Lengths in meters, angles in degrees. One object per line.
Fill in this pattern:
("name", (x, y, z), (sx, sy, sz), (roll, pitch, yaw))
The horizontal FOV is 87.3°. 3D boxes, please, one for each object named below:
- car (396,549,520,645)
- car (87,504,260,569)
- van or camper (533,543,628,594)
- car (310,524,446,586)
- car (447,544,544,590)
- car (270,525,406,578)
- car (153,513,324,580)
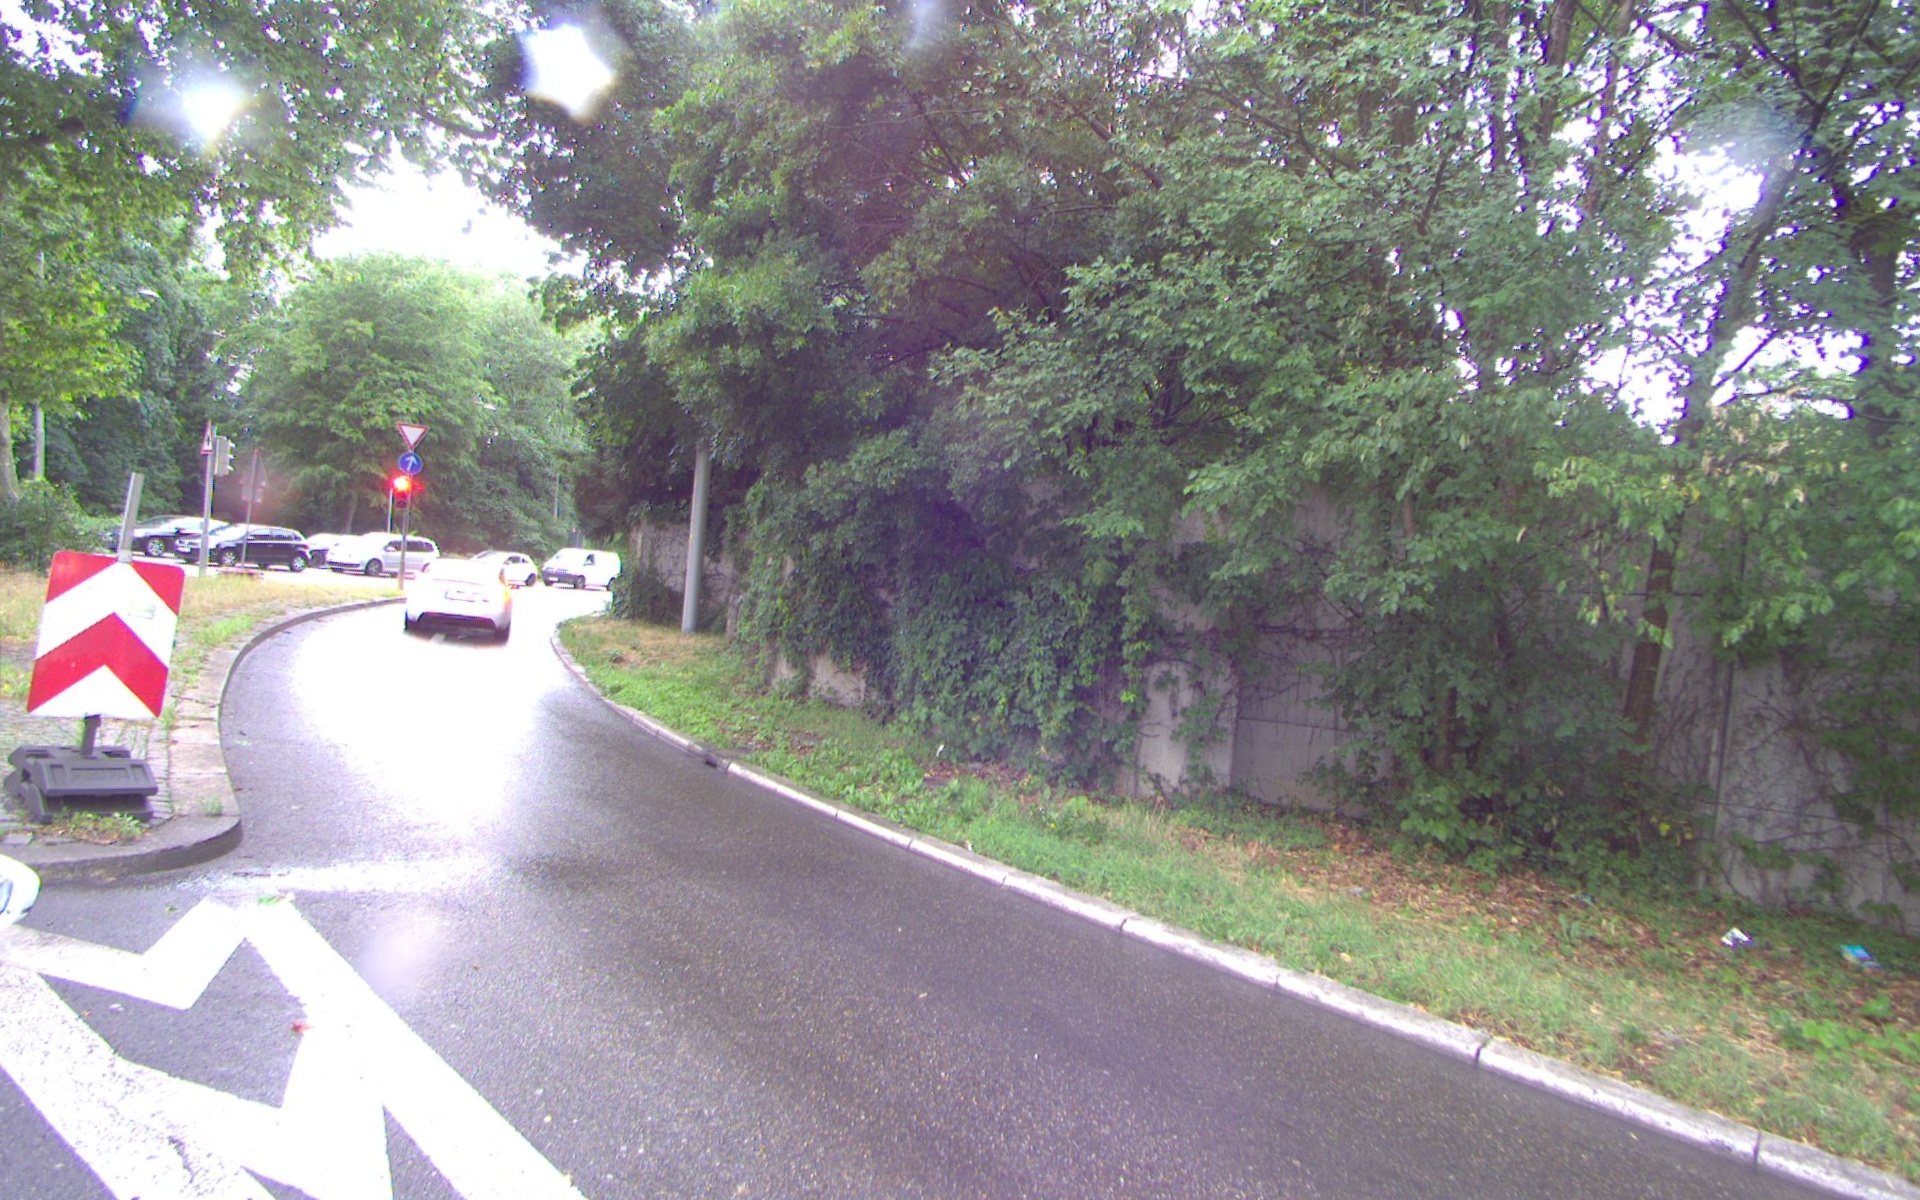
("car", (-10.158, -0.110, 20.657), (1.837, 1.464, 4.593), (11, -3, -24))
("car", (-26.679, -2.112, 34.307), (1.913, 1.457, 4.218), (7, -2, 16))
("van or camper", (-19.093, -1.549, 50.901), (1.871, 1.970, 4.869), (7, -1, 15))
("car", (-22.086, -1.650, 38.361), (1.871, 1.699, 4.216), (7, -2, 16))
("car", (-20.555, -1.424, 44.695), (1.627, 1.478, 3.869), (7, -2, 16))
("car", (-24.804, -1.876, 40.308), (1.795, 1.418, 4.452), (7, -2, 16))
("car", (-23.327, -1.691, 32.737), (1.759, 1.477, 4.205), (7, -2, 16))
